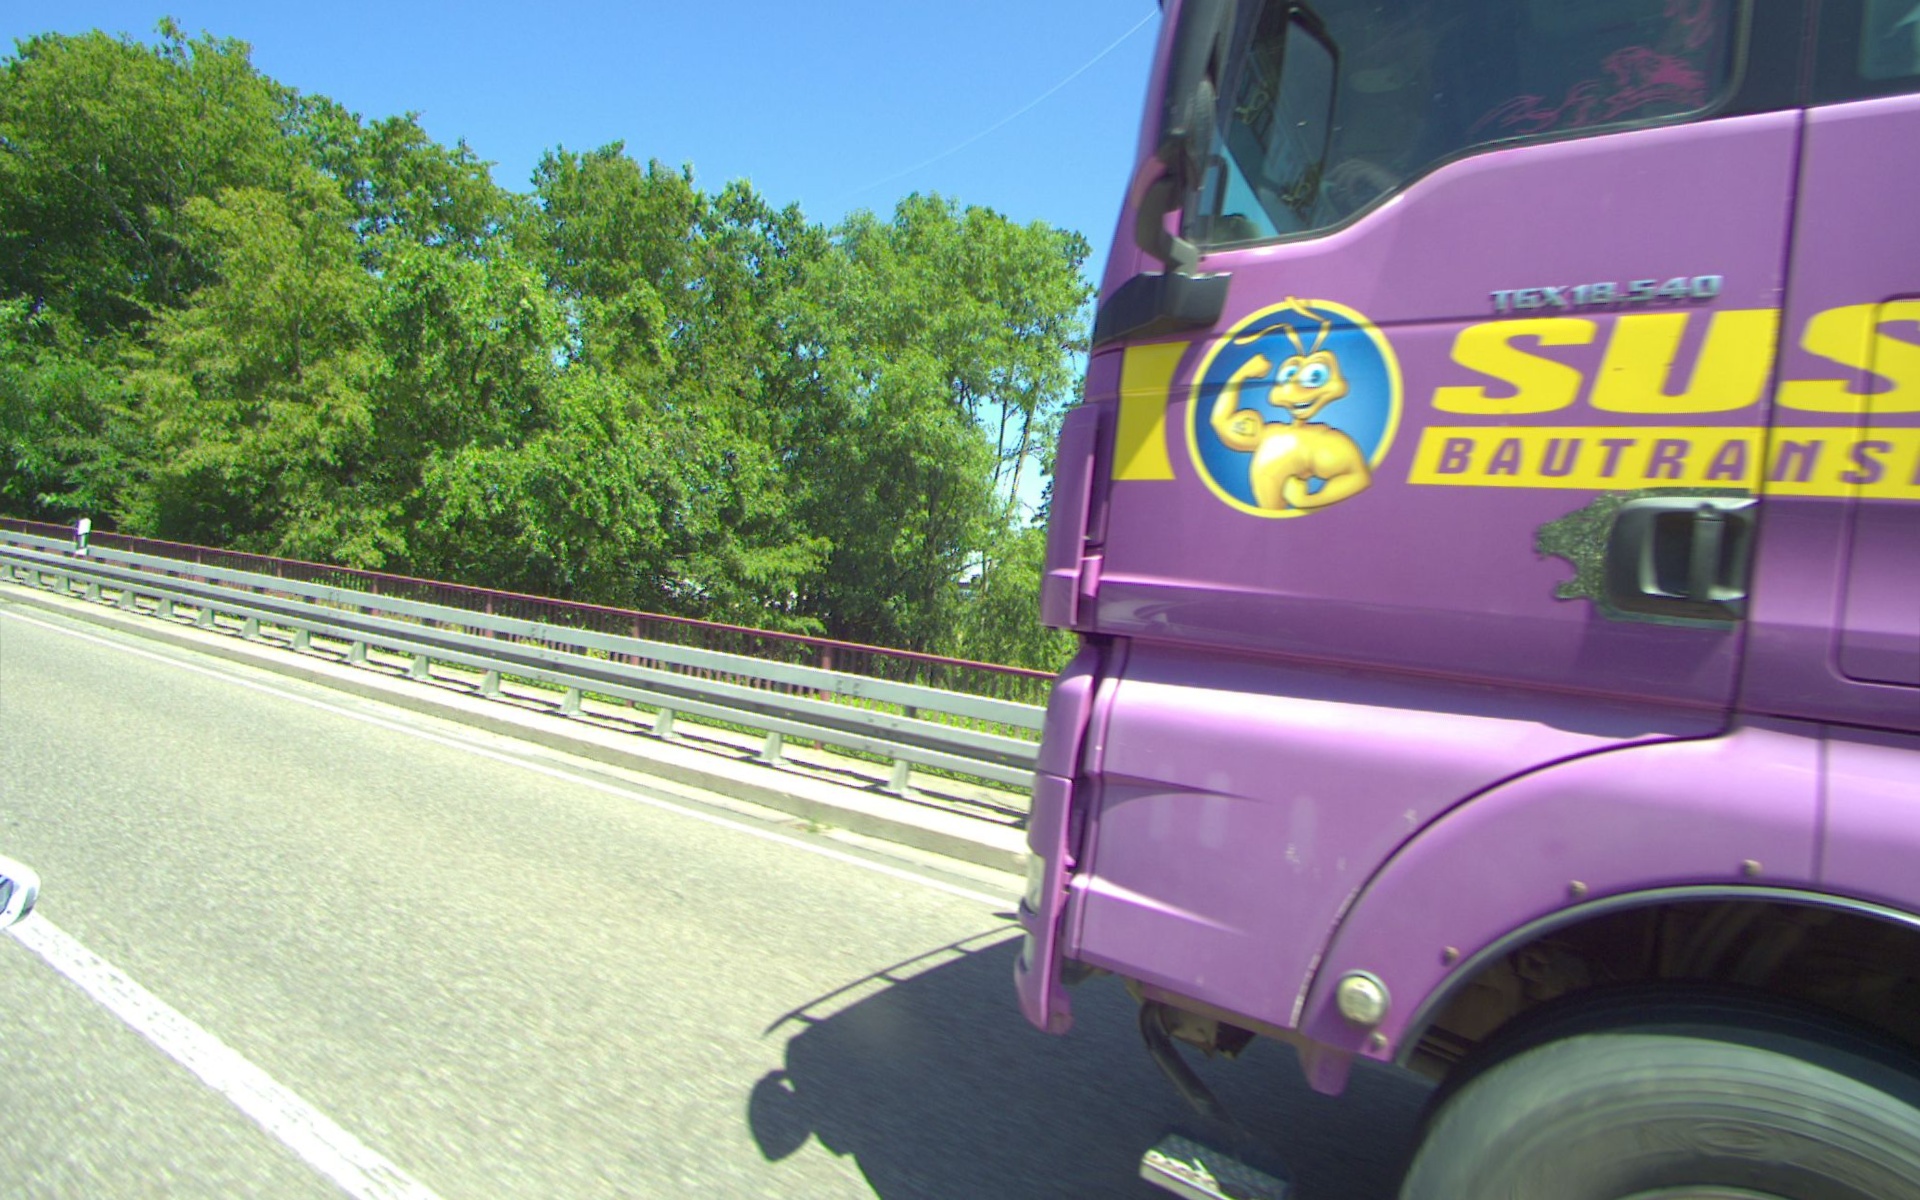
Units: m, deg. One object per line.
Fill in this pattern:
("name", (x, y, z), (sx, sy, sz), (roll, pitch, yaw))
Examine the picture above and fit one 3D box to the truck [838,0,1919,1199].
("truck", (3.073, 0.080, 1.715), (5.839, 3.736, 2.603), (7, -1, 31))
